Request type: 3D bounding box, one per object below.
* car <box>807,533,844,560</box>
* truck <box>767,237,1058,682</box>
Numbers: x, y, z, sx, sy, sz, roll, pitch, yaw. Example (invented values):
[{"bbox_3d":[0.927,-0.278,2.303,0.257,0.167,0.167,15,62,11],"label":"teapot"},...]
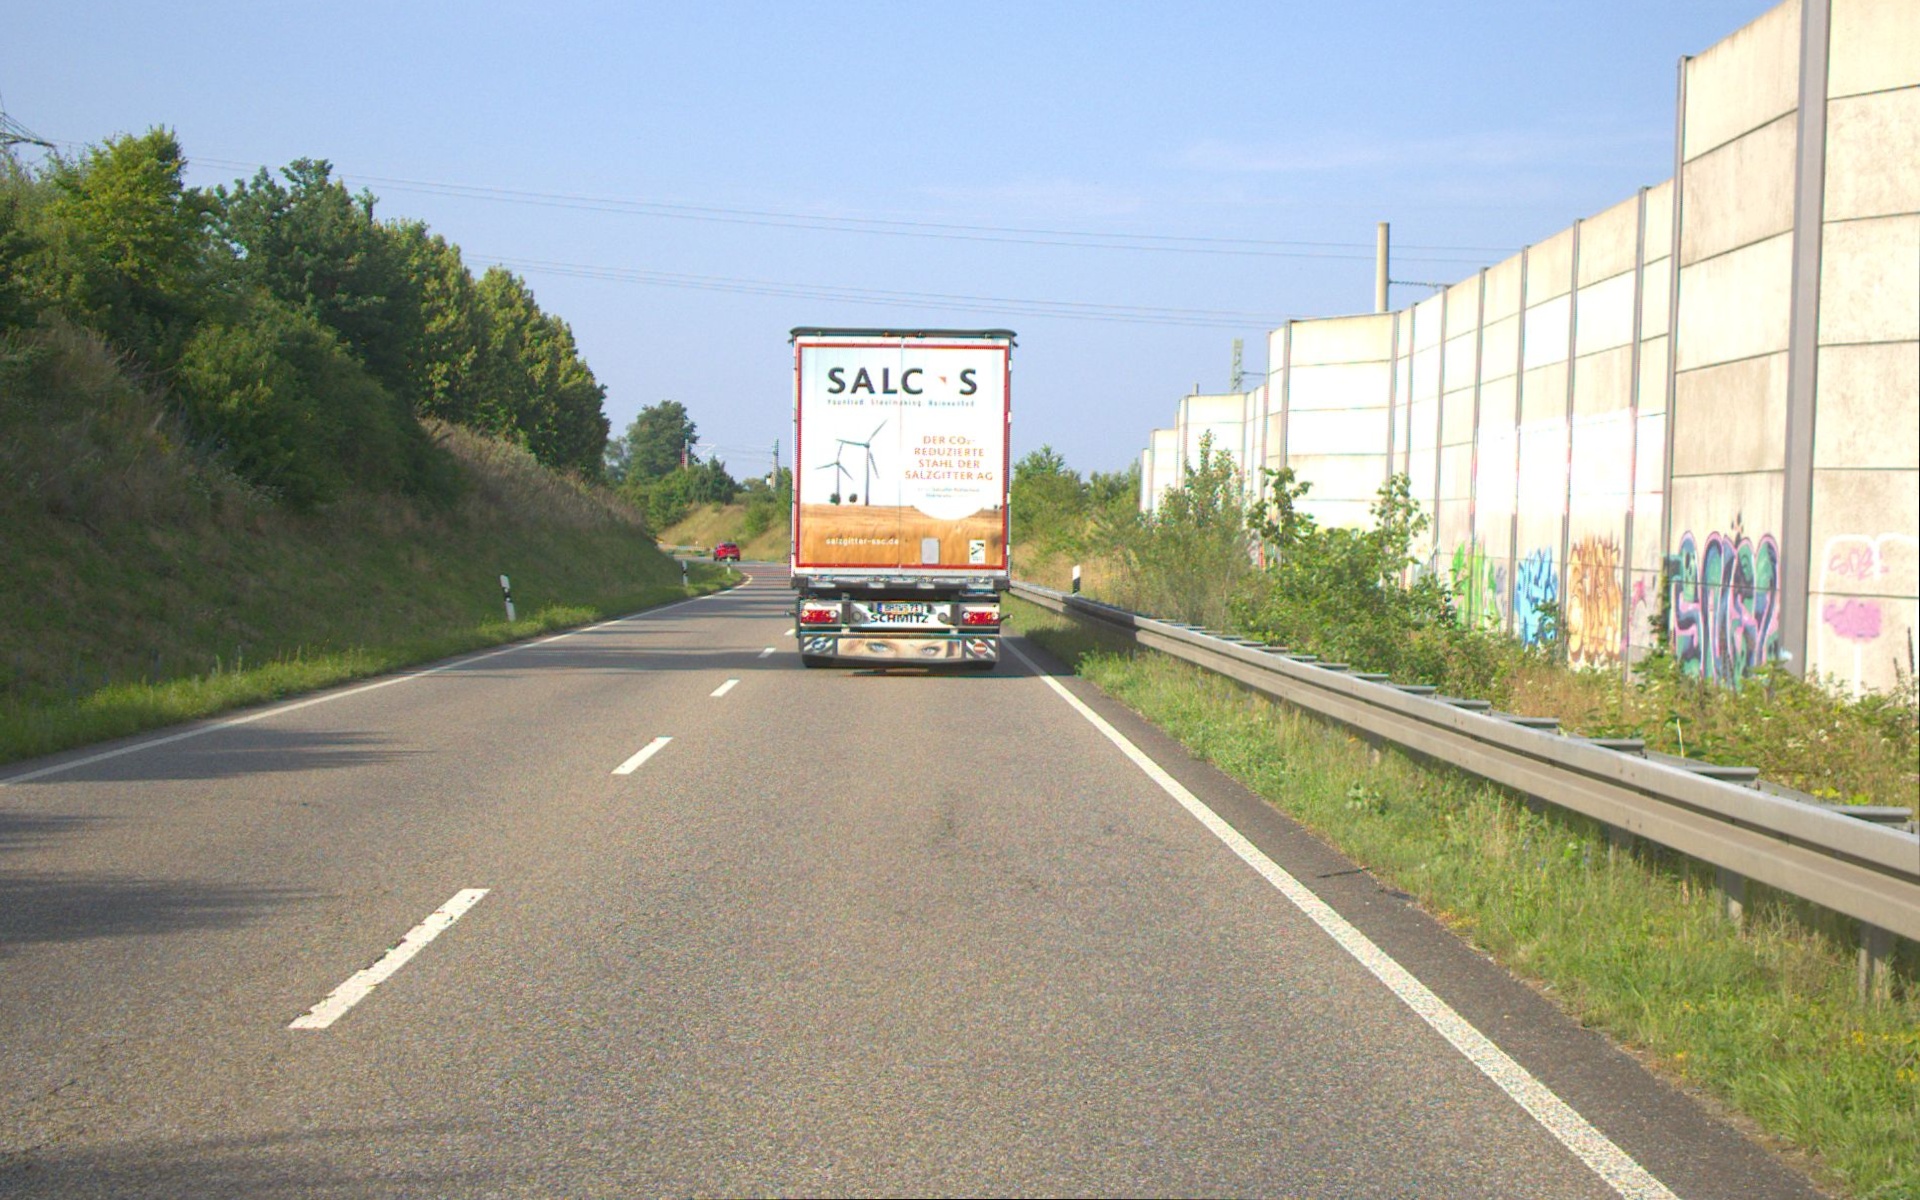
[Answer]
[{"bbox_3d":[-7.932,-3.166,203.289,2.046,1.576,4.360,1,1,-1],"label":"car"},{"bbox_3d":[-0.830,-1.771,45.566,3.290,5.072,12.039,1,1,-3],"label":"truck"}]
